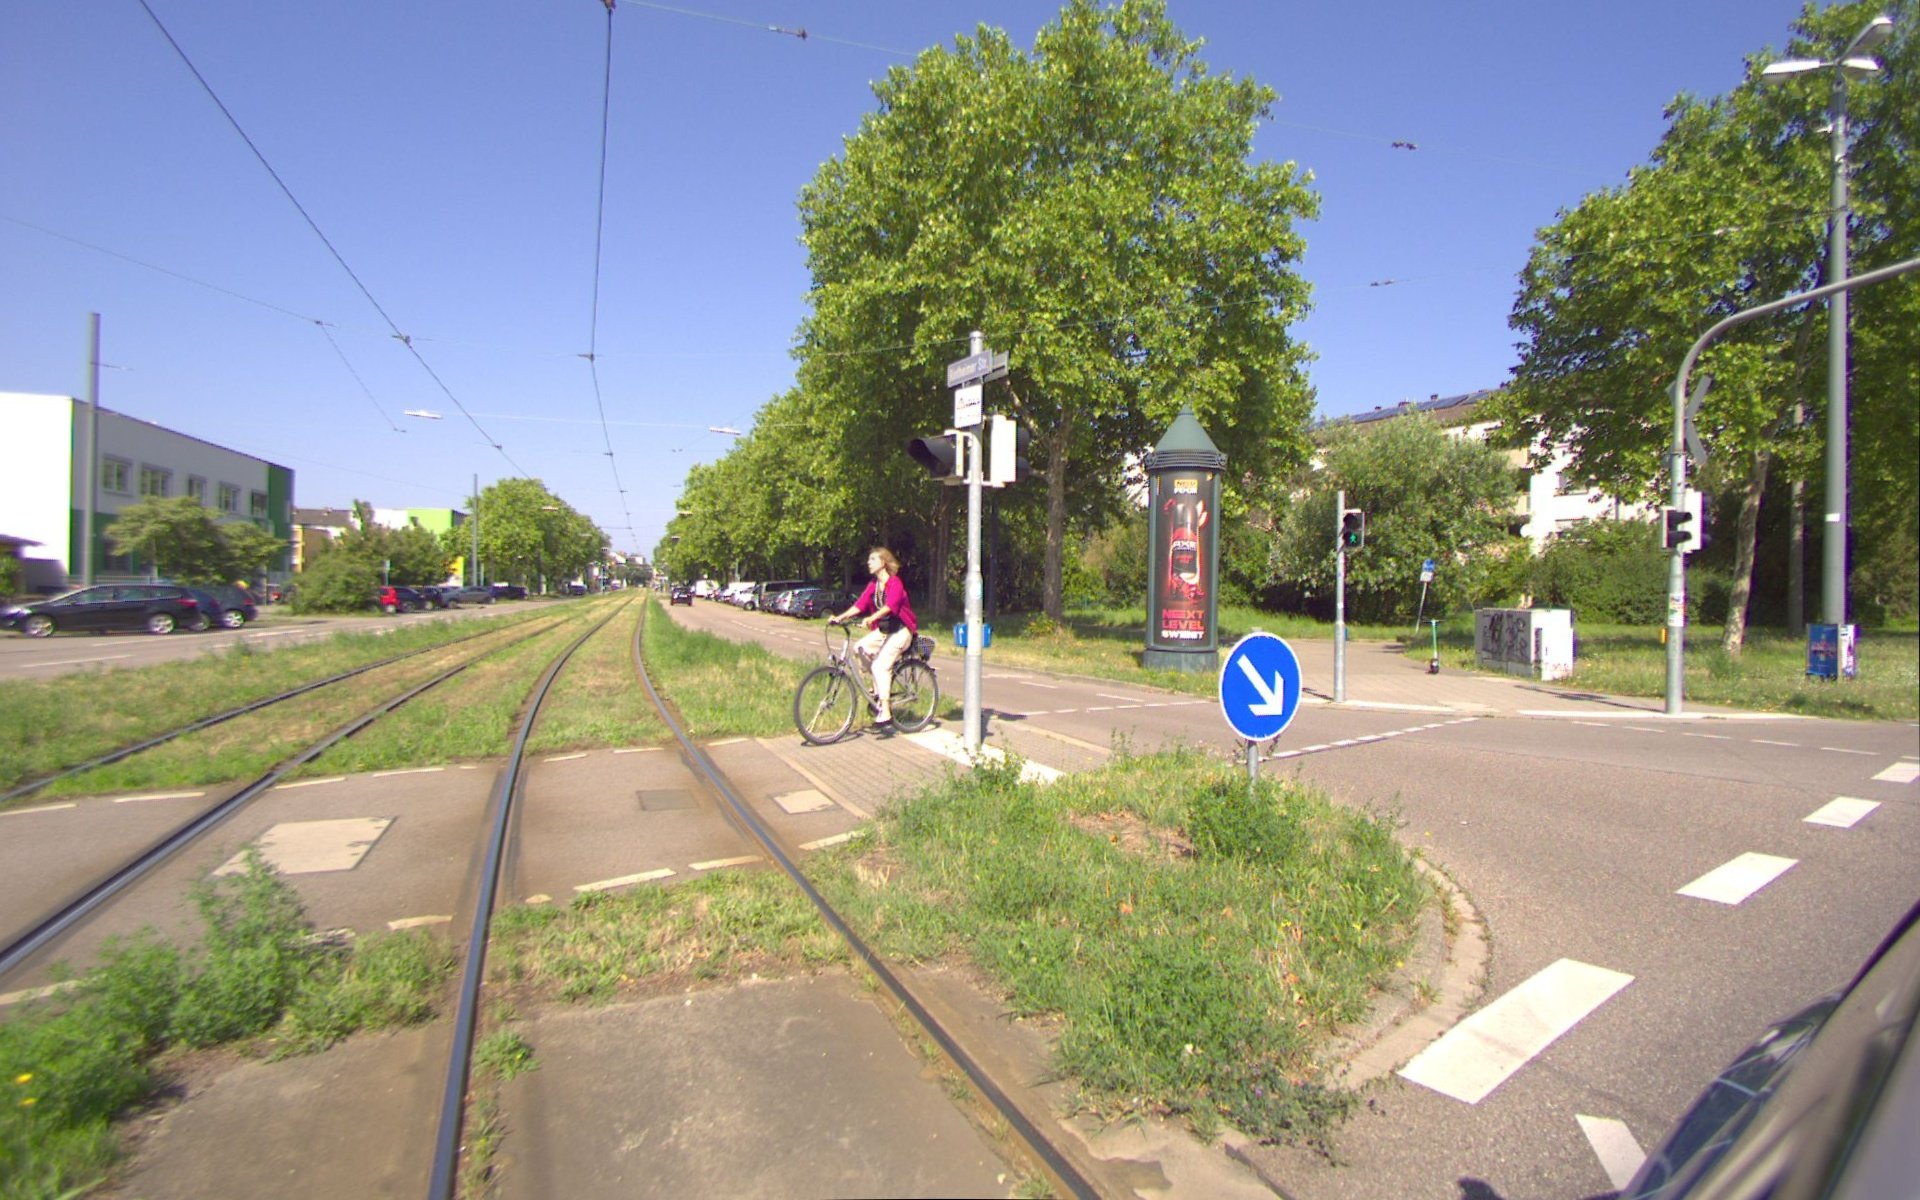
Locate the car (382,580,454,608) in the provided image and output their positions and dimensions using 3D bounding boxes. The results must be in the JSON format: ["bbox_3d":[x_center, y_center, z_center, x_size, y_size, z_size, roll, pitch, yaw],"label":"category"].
[{"bbox_3d":[-36.960,-0.396,69.039,1.993,1.817,3.937,-2,-2,44],"label":"car"}]

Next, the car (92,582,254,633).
[{"bbox_3d":[-26.714,0.242,34.433,4.137,1.640,2.137,0,0,-45],"label":"car"}]

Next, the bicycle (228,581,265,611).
[{"bbox_3d":[-33.341,-0.191,47.313,1.194,1.343,0.780,1,0,-8],"label":"bicycle"}]

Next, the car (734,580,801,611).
[{"bbox_3d":[-14.353,-0.297,75.317,4.495,2.237,2.003,1,0,-27],"label":"car"}]

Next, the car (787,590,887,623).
[{"bbox_3d":[-5.830,0.292,47.883,4.265,1.509,2.003,0,0,-27],"label":"car"}]

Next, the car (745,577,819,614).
[{"bbox_3d":[-11.677,-0.295,66.389,4.493,2.318,2.004,1,0,-21],"label":"car"}]

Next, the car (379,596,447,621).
[{"bbox_3d":[-34.383,0.526,63.688,1.559,1.555,3.398,1,0,37],"label":"car"}]

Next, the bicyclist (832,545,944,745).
[{"bbox_3d":[-0.688,0.401,9.692,0.796,1.809,0.701,1,0,-43],"label":"bicyclist"}]

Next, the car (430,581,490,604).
[{"bbox_3d":[-40.846,-0.579,82.713,1.993,1.817,3.937,-2,-2,44],"label":"car"}]

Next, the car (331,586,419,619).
[{"bbox_3d":[-33.184,0.165,57.446,1.993,1.817,3.937,-2,-2,44],"label":"car"}]

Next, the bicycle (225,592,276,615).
[{"bbox_3d":[-33.374,0.143,47.648,1.089,1.059,2.131,1,0,-8],"label":"bicycle"}]

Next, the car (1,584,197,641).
[{"bbox_3d":[-24.628,0.343,29.029,4.137,1.518,2.137,0,0,-45],"label":"car"}]

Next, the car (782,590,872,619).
[{"bbox_3d":[-6.996,0.237,53.358,4.265,1.509,2.003,1,0,-27],"label":"car"}]

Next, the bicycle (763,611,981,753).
[{"bbox_3d":[-0.785,0.710,9.629,2.090,1.200,0.692,1,0,-44],"label":"bicycle"}]

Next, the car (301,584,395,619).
[{"bbox_3d":[-32.827,0.121,54.340,1.993,1.817,3.937,-2,-2,44],"label":"car"}]

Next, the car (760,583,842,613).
[{"bbox_3d":[-9.156,-0.117,58.404,4.265,1.653,2.003,1,0,-27],"label":"car"}]

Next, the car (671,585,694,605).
[{"bbox_3d":[-24.022,-0.392,87.502,1.756,1.676,4.007,1,-1,-17],"label":"car"}]

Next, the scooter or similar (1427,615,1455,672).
[{"bbox_3d":[10.409,0.914,21.922,0.511,1.156,1.434,-1,0,25],"label":"scooter or similar"}]

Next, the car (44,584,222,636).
[{"bbox_3d":[-25.750,0.292,31.572,4.137,1.518,2.137,0,0,-45],"label":"car"}]

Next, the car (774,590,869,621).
[{"bbox_3d":[-6.866,0.274,50.218,4.265,1.509,2.003,1,0,-27],"label":"car"}]

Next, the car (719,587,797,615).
[{"bbox_3d":[-12.342,0.068,61.776,4.265,1.653,2.003,1,0,-27],"label":"car"}]
